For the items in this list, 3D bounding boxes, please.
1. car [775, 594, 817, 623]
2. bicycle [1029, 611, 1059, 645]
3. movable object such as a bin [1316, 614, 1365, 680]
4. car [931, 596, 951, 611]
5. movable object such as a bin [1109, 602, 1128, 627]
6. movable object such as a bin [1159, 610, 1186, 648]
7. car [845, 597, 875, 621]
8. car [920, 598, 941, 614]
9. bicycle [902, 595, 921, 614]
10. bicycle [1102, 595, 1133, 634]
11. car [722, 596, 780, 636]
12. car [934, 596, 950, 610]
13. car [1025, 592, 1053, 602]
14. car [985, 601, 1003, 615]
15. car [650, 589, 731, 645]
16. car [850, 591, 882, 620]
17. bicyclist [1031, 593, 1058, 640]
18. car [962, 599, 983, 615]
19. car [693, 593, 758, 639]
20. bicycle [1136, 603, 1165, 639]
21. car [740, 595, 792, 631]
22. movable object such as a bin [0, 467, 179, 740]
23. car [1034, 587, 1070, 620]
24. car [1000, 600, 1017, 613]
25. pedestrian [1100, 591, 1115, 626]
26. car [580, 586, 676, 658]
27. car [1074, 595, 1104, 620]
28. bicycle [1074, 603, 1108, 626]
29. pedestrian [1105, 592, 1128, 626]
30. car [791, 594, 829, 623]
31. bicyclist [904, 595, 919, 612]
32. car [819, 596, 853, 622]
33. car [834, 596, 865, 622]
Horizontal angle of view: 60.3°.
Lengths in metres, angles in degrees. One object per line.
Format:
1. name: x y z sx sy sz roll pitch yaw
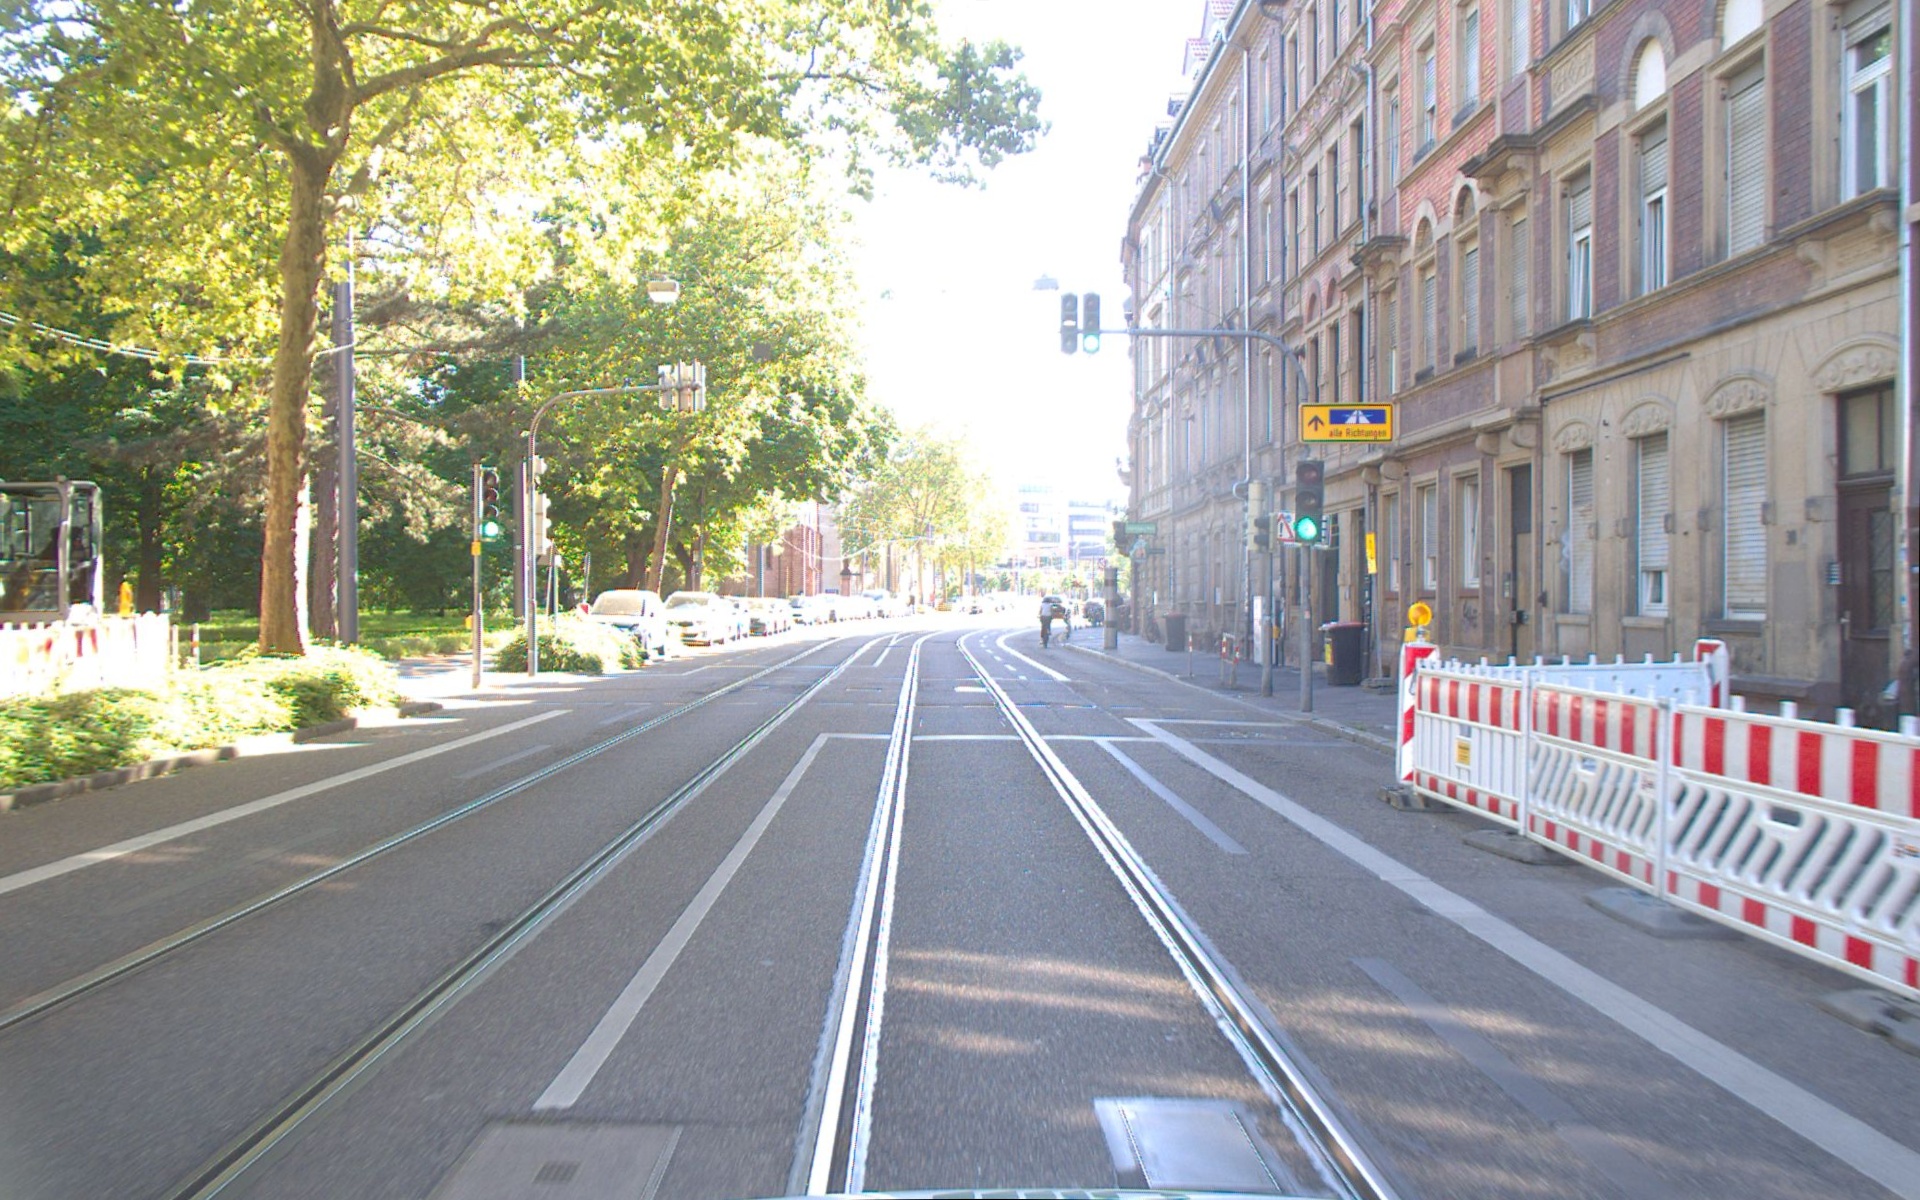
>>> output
1. car: -8.928 0.487 90.299 1.712 1.521 4.044 1 0 1
2. bicycle: 2.864 0.946 56.838 0.838 1.107 2.486 1 0 -1
3. movable object such as a bin: 6.602 0.810 28.738 0.608 1.129 0.780 1 -1 -4
4. car: -1.928 0.395 168.855 1.712 1.447 4.045 1 0 3
5. movable object such as a bin: 7.020 0.640 73.293 0.681 1.112 0.741 1 -1 -4
6. movable object such as a bin: 6.020 0.814 46.909 0.660 1.054 0.813 0 1 -1
7. car: -7.028 0.650 116.117 1.712 1.614 4.044 1 0 1
8. car: -2.815 0.555 158.890 1.712 1.447 4.045 1 0 3
9. bicycle: -4.115 0.368 141.351 1.208 1.600 2.899 1 0 6
10. bicycle: 6.472 0.599 67.958 0.950 1.541 3.249 1 0 10
11. car: -8.486 0.638 67.360 1.712 1.536 4.044 1 0 1
12. car: -2.188 0.333 205.699 1.712 1.653 4.045 1 0 3
13. car: 12.080 -0.480 252.906 3.944 1.447 1.755 1 0 9
14. car: 3.690 0.898 179.881 1.712 1.447 4.045 1 0 3
15. car: -8.385 0.533 51.767 1.712 1.636 4.044 1 0 1
16. car: -6.856 0.421 121.164 2.016 2.088 4.044 1 0 1
17. bicyclist: 2.897 0.557 56.854 0.821 1.585 0.965 1 -1 -2
18. car: 1.144 0.643 149.324 1.712 1.447 4.045 1 0 3
19. car: -8.735 0.579 61.841 1.712 1.614 4.044 1 0 1
20. bicycle: 6.131 0.670 53.245 0.626 1.137 2.297 1 0 -1
21. car: -8.526 0.569 72.917 1.712 1.532 4.044 1 0 1
22. movable object such as a bin: -10.765 0.009 17.474 2.446 2.691 5.984 1 0 -4
23. car: 5.787 0.231 104.784 1.953 2.049 3.999 1 0 -1
24. car: 5.597 0.737 190.503 1.712 1.447 4.045 1 0 3
25. pedestrian: 8.168 0.450 91.838 0.767 1.922 0.971 1 -1 7
26. car: -8.229 0.534 41.228 1.513 1.687 3.763 1 0 1
27. car: 9.938 0.572 127.729 1.985 1.881 4.298 1 0 0
28. bicycle: 6.613 0.727 83.599 0.628 1.137 2.289 1 -1 35
29. pedestrian: 8.421 0.504 88.924 1.033 1.791 1.332 1 -1 -1
30. car: -8.628 0.479 95.372 1.712 1.614 4.044 1 0 1
31. bicyclist: -4.140 0.325 141.319 1.054 1.452 1.147 1 -1 7
32. car: -7.909 0.562 105.703 1.712 1.614 4.044 1 0 1
33. car: -7.379 0.608 110.916 1.712 1.614 4.044 1 0 1
